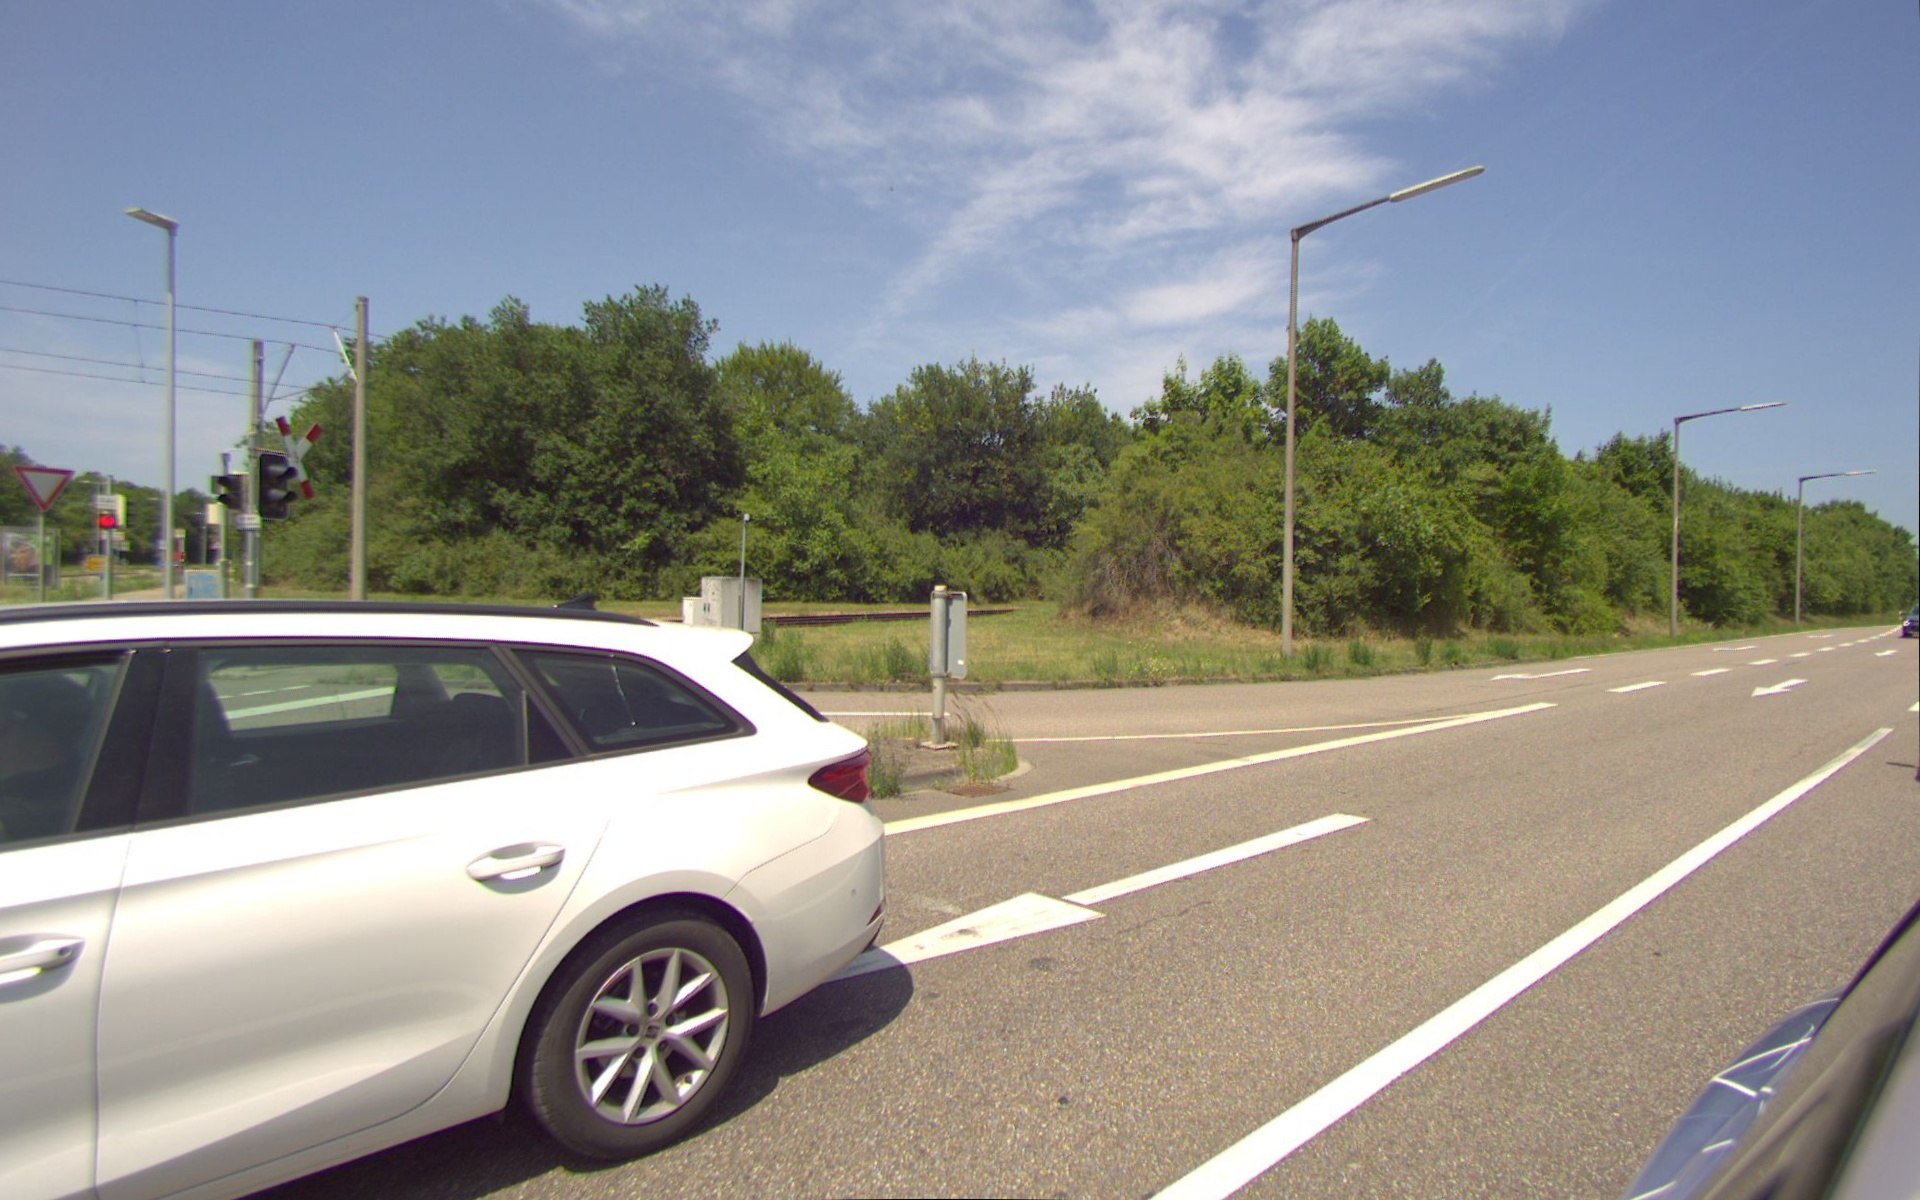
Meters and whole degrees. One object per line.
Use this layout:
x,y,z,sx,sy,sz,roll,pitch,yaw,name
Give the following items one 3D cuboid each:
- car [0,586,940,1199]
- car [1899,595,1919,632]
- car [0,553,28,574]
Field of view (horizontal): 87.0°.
-2.237,0.680,2.426,4.375,1.407,1.684,0,1,-43,car
44.355,0.632,46.121,3.928,1.616,1.723,0,1,-39,car
-75.541,-2.920,80.114,1.640,1.600,4.005,2,0,-30,car
